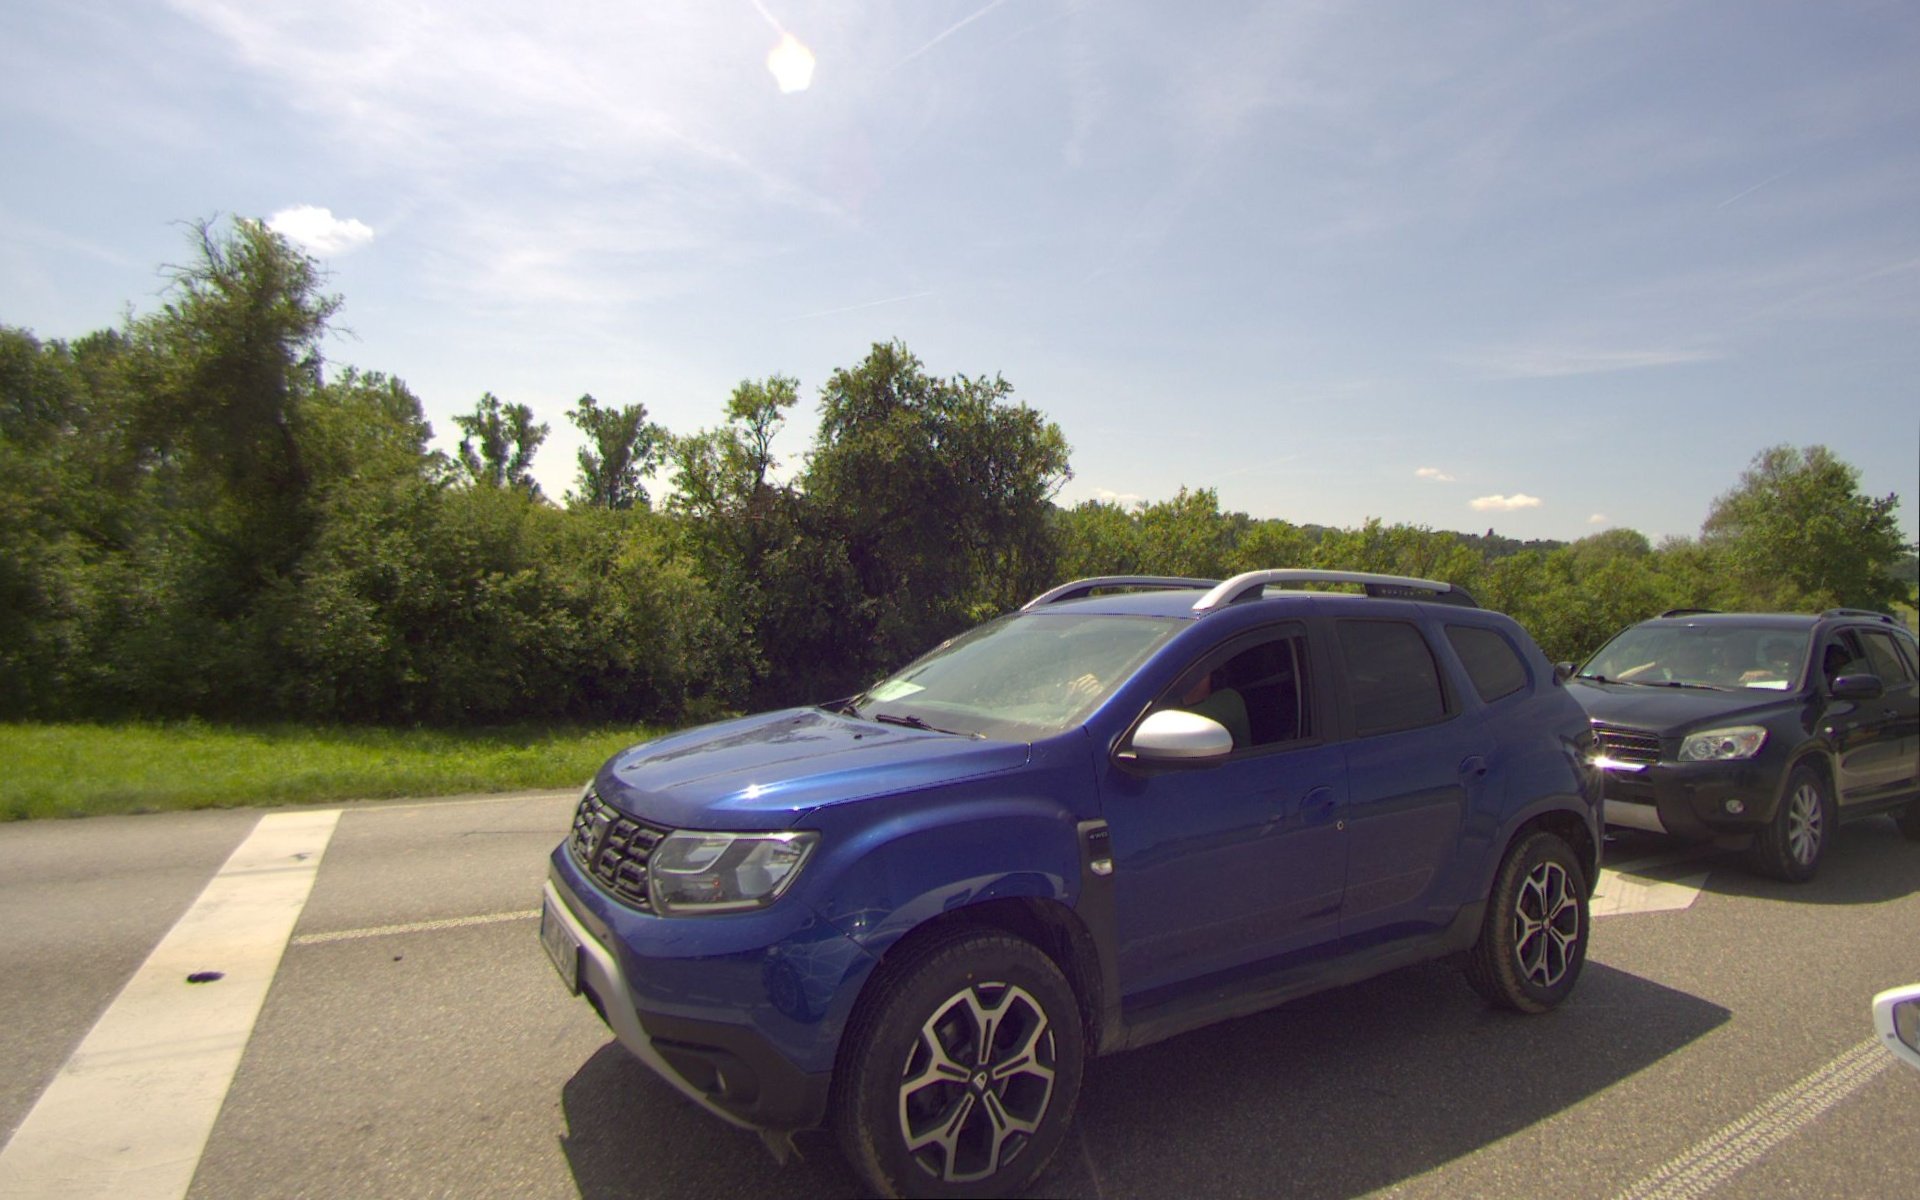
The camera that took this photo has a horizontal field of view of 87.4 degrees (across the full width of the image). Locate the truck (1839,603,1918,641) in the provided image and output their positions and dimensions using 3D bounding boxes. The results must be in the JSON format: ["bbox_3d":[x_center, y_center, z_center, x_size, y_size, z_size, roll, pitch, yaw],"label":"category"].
[{"bbox_3d":[110.961,2.793,121.639,3.582,4.183,13.082,3,-1,27],"label":"truck"}]

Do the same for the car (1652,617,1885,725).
[{"bbox_3d":[14.396,1.224,17.862,3.954,1.718,1.984,3,-2,-31],"label":"car"}]

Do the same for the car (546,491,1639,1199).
[{"bbox_3d":[0.694,0.695,3.860,3.957,1.680,1.761,2,-1,-33],"label":"car"}]

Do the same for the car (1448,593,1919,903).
[{"bbox_3d":[5.504,0.878,7.277,3.957,1.680,1.761,3,-1,-33],"label":"car"}]

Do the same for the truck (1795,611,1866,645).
[{"bbox_3d":[117.895,3.847,136.289,3.473,4.296,13.398,3,-1,25],"label":"truck"}]
